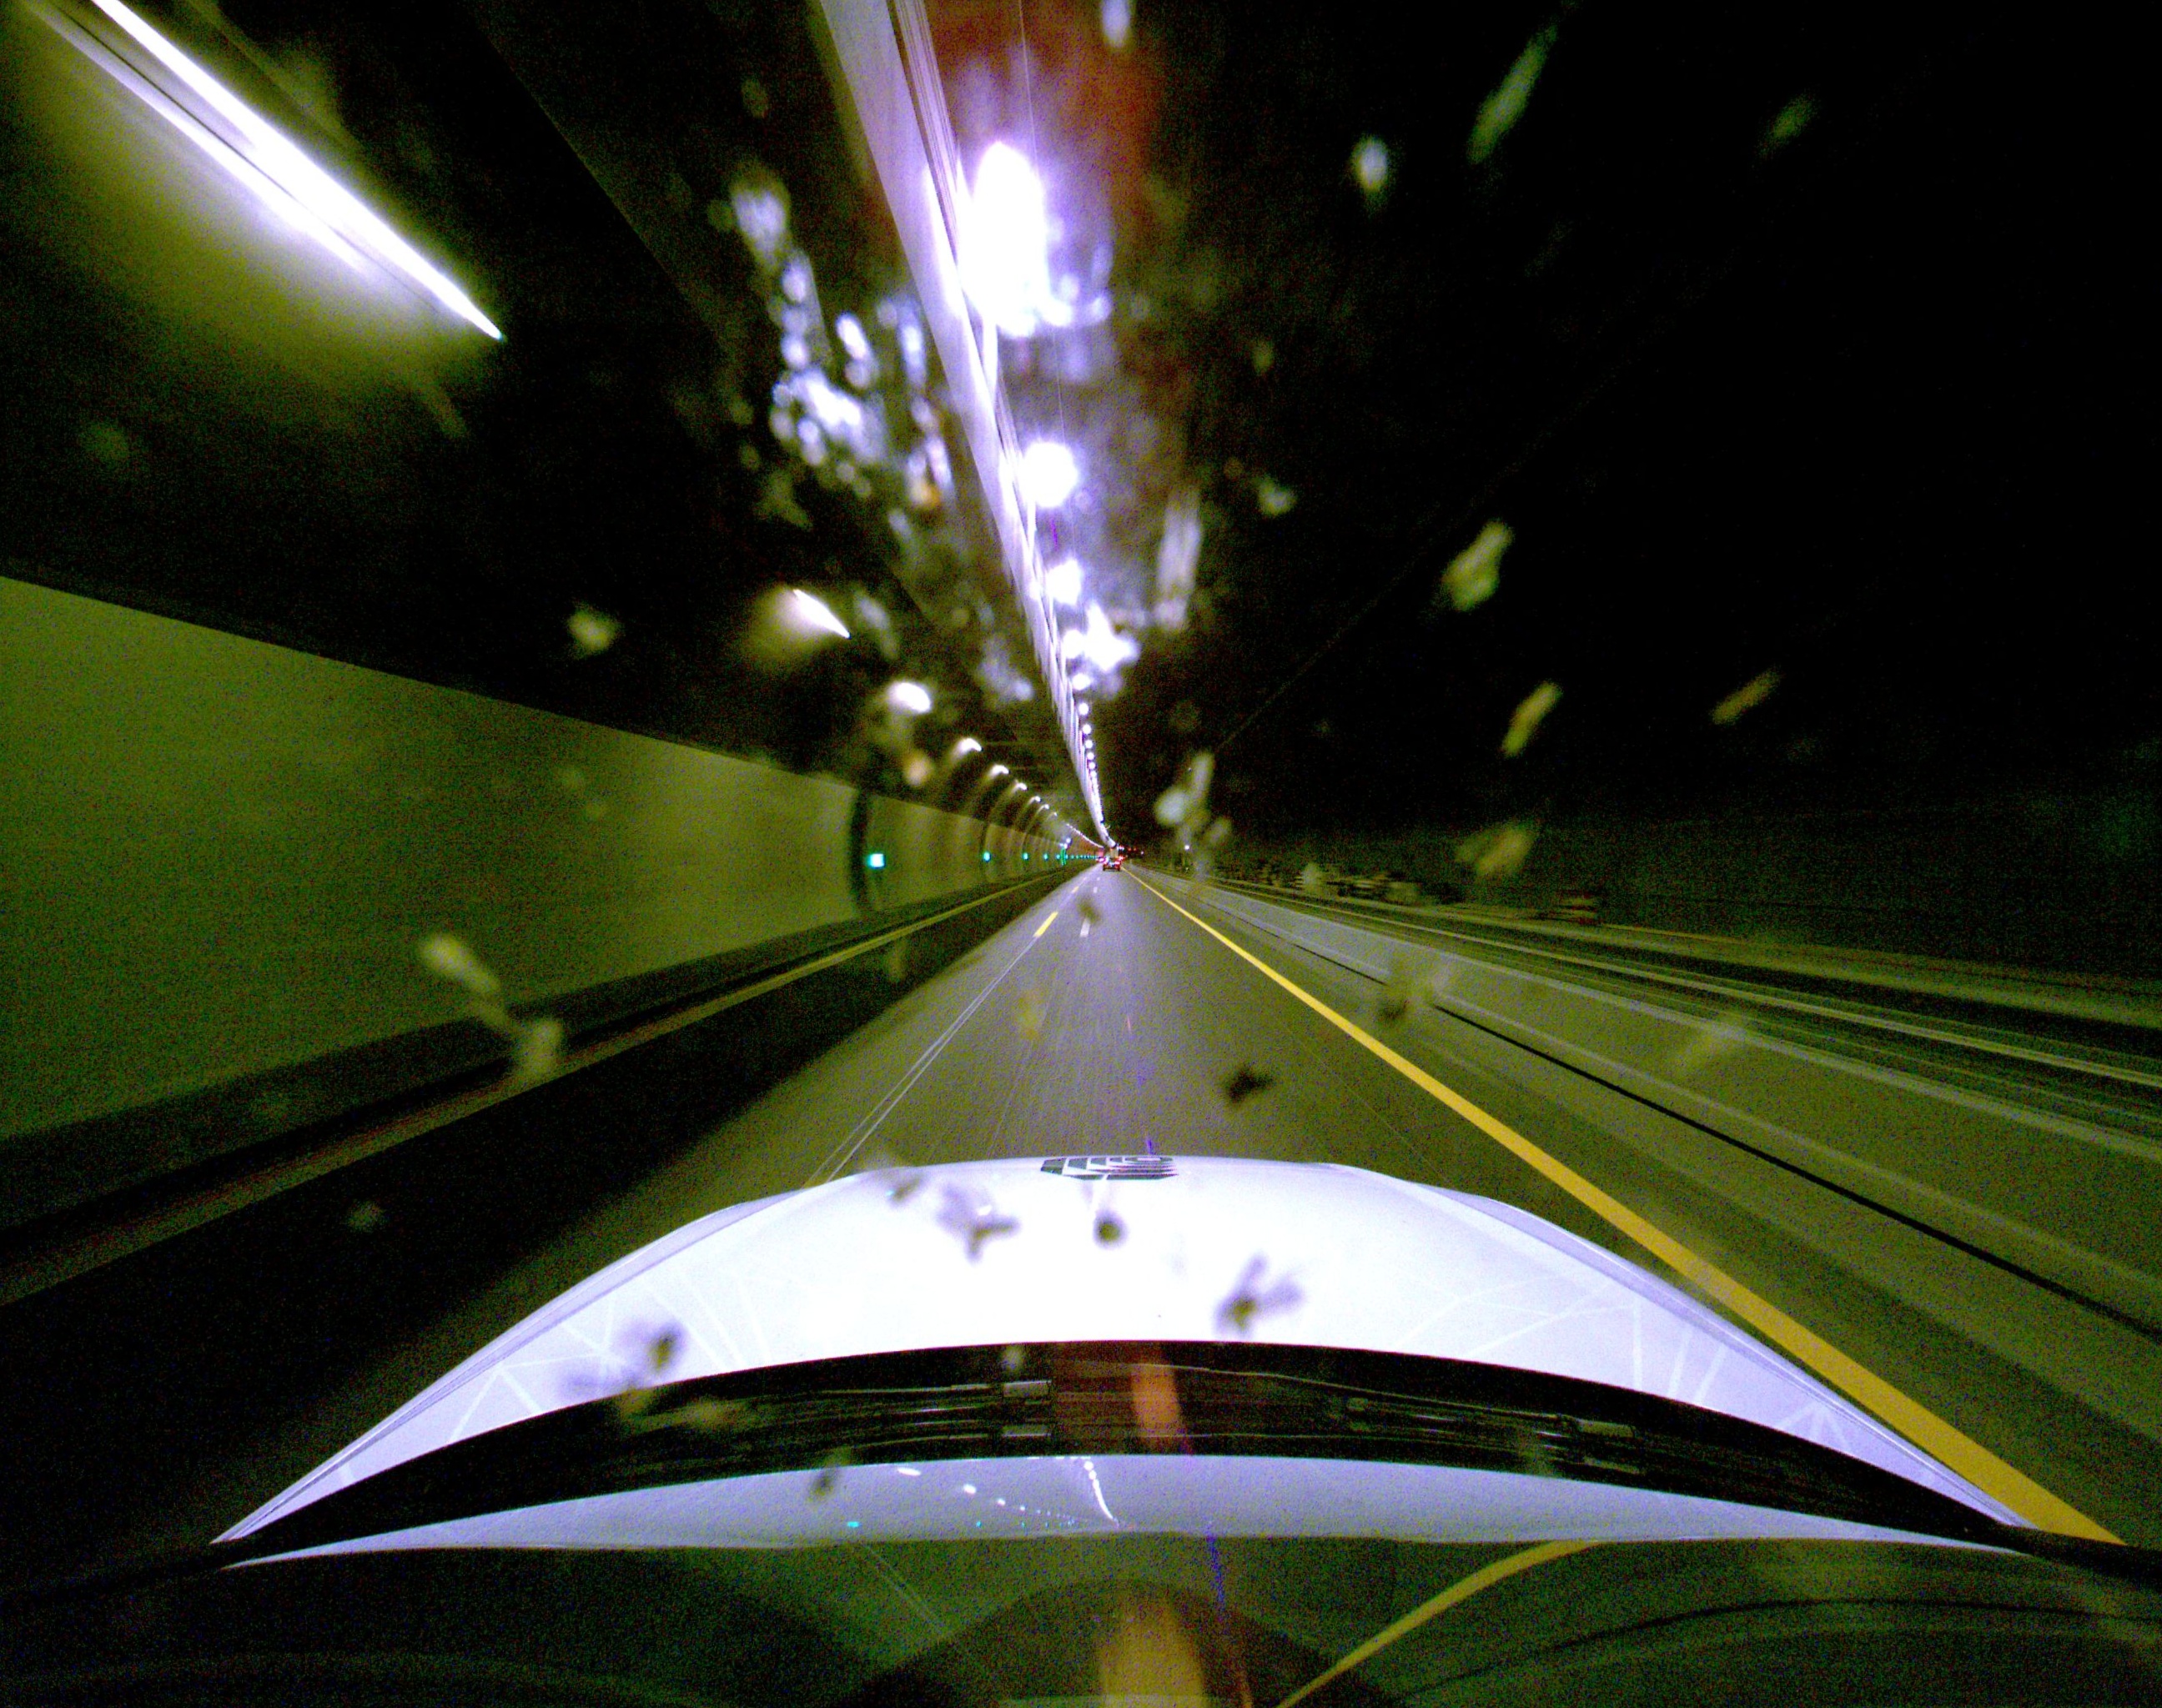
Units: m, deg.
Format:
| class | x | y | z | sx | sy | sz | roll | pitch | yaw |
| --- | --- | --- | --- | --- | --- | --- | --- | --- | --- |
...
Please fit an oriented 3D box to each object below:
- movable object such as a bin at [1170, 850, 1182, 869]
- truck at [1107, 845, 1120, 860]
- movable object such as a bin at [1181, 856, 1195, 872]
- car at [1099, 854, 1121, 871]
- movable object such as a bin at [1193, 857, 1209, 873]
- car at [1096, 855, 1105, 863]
| class | x | y | z | sx | sy | sz | roll | pitch | yaw |
| --- | --- | --- | --- | --- | --- | --- | --- | --- | --- |
| movable object such as a bin | 11.071 | 0.657 | 95.062 | 1.230 | 2.141 | 2.217 | 0 | 0 | 1 |
| truck | 10.471 | -0.518 | 264.450 | 4.051 | 4.532 | 14.971 | -2 | 0 | 2 |
| movable object such as a bin | 11.559 | 1.049 | 88.165 | 1.230 | 1.718 | 2.217 | 0 | 0 | 1 |
| car | 3.058 | 0.885 | 86.679 | 1.942 | 1.794 | 3.997 | -2 | 0 | -2 |
| movable object such as a bin | 11.307 | 1.046 | 76.858 | 1.230 | 1.442 | 2.217 | 0 | 0 | 1 |
| car | 4.706 | 1.193 | 196.624 | 1.922 | 1.687 | 4.003 | -2 | 0 | 3 |
